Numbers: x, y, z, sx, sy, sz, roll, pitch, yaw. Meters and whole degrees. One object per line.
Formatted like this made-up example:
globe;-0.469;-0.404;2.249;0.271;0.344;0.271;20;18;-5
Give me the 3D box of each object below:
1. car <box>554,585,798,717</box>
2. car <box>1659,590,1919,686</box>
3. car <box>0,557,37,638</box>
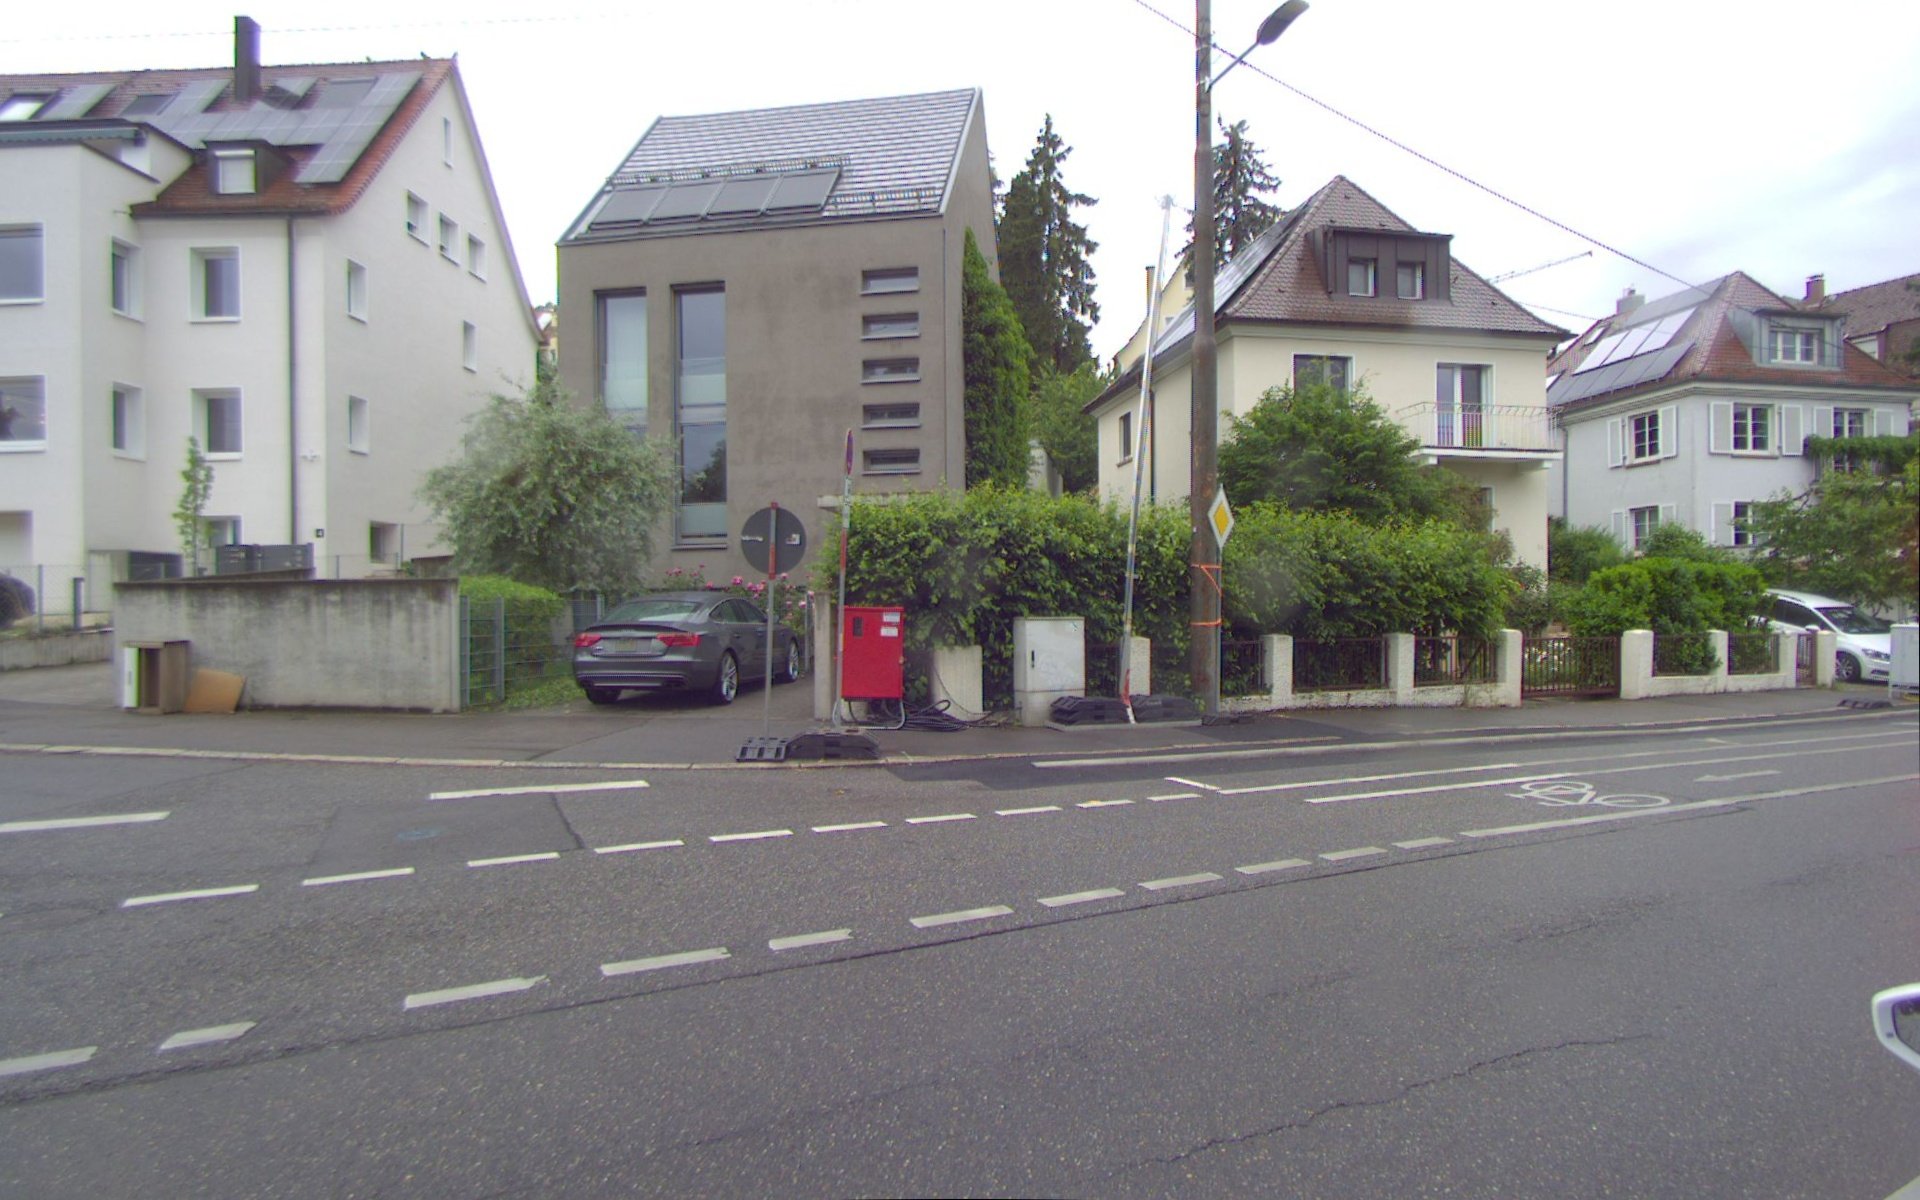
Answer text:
car;-3.611;0.559;13.582;1.740;1.506;4.002;0;1;7
car;19.593;0.814;23.919;1.870;2.033;4.628;1;0;-18
car;-16.734;0.044;15.175;1.576;1.298;4.008;2;4;6
